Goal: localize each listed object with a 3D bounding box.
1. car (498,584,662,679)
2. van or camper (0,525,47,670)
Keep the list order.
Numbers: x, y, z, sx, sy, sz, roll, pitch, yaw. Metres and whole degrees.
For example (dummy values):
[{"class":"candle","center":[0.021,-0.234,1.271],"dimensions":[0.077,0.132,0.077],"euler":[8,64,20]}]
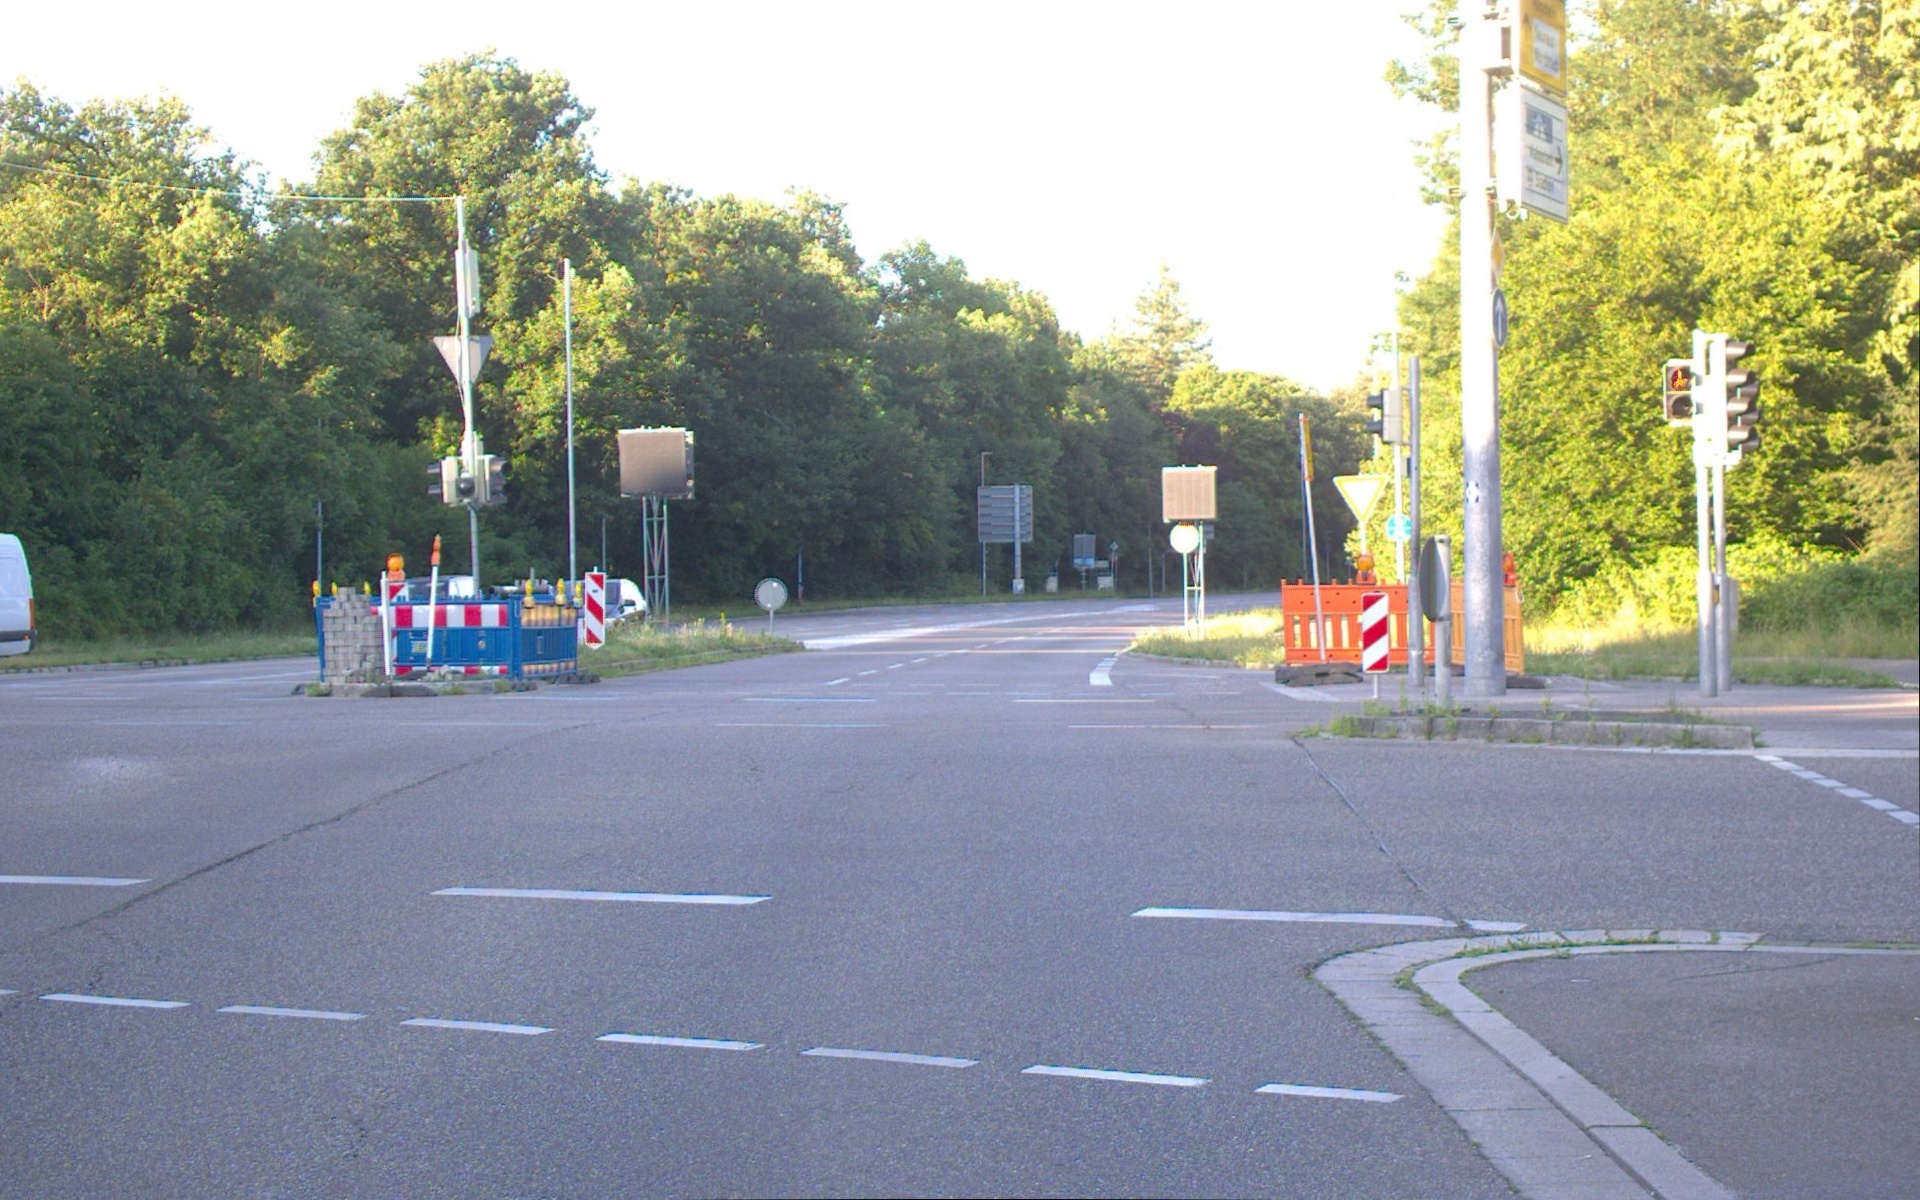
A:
[{"class":"car","center":[-7.395,0.592,67.279],"dimensions":[1.994,1.634,3.998],"euler":[-2,2,12]},{"class":"van or camper","center":[-19.806,-0.004,61.392],"dimensions":[2.889,2.643,7.113],"euler":[0,1,24]}]
